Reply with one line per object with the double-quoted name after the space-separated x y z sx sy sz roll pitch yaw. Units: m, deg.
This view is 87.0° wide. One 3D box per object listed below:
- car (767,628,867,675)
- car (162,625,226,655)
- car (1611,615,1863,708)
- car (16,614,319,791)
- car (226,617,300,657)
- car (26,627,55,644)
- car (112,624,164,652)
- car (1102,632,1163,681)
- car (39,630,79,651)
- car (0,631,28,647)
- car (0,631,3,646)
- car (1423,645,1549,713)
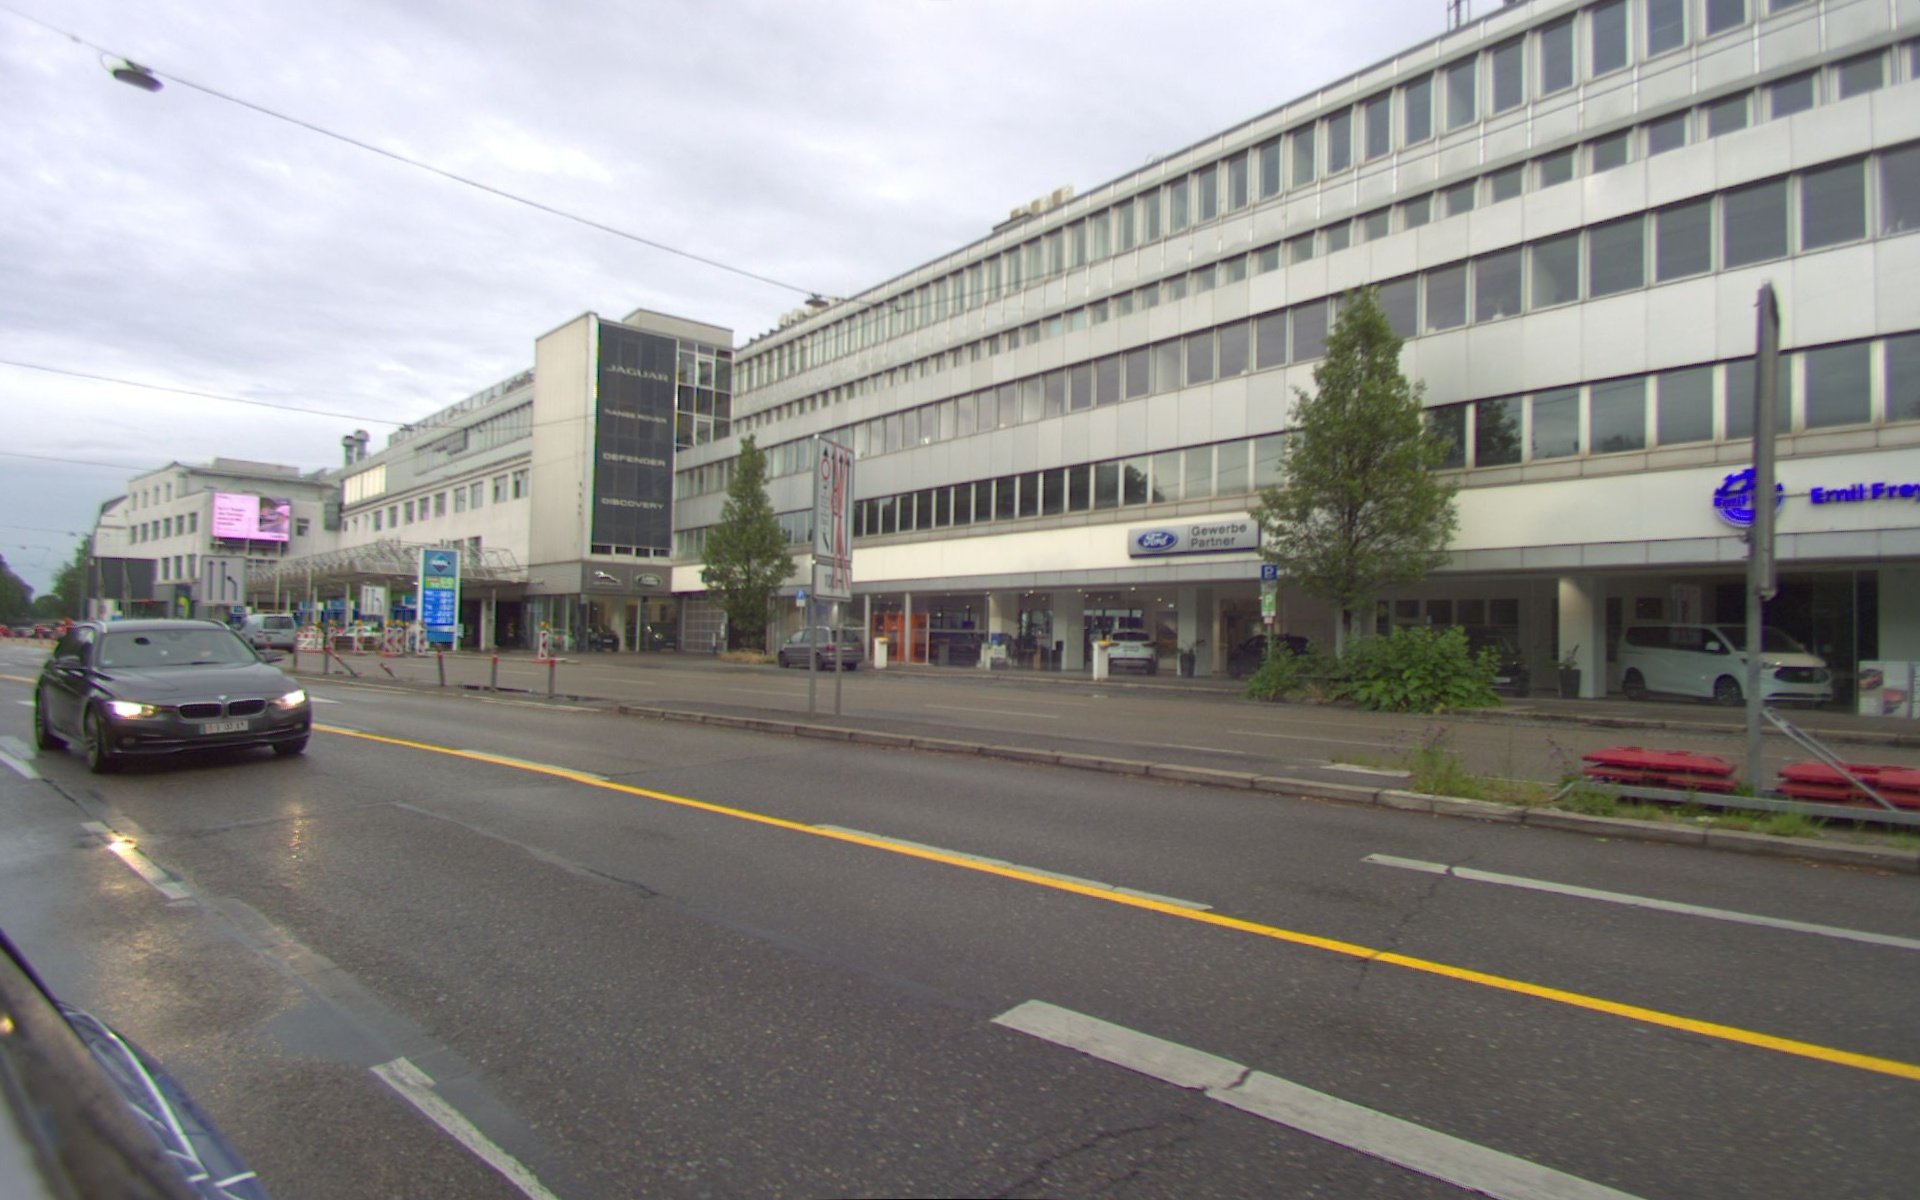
-5.948 2.107 41.551 1.825 1.792 4.738 4 -4 -39 "car"
-41.603 2.156 54.926 4.370 1.514 1.811 -1 -4 40 "car"
18.088 1.442 23.965 1.971 1.912 4.989 2 -3 -1 "car"
-8.668 0.937 10.942 4.174 1.460 1.742 0 1 40 "car"
-32.862 1.727 47.704 4.298 1.799 1.716 -1 -4 40 "car"
-88.189 3.429 97.011 4.001 1.525 1.732 -1 -4 44 "car"
-53.658 2.473 66.019 4.602 1.751 1.826 -1 -3 41 "car"
6.316 2.094 37.441 1.831 1.664 4.378 1 -3 5 "car"
-70.713 3.162 79.437 4.299 1.570 1.789 -1 -3 41 "car"
-108.047 4.392 115.281 4.826 1.720 1.960 -1 -3 39 "car"
-91.403 3.573 95.186 4.115 1.365 1.670 -1 -4 43 "car"
13.749 2.039 26.708 1.980 1.586 3.983 1 -3 13 "car"
